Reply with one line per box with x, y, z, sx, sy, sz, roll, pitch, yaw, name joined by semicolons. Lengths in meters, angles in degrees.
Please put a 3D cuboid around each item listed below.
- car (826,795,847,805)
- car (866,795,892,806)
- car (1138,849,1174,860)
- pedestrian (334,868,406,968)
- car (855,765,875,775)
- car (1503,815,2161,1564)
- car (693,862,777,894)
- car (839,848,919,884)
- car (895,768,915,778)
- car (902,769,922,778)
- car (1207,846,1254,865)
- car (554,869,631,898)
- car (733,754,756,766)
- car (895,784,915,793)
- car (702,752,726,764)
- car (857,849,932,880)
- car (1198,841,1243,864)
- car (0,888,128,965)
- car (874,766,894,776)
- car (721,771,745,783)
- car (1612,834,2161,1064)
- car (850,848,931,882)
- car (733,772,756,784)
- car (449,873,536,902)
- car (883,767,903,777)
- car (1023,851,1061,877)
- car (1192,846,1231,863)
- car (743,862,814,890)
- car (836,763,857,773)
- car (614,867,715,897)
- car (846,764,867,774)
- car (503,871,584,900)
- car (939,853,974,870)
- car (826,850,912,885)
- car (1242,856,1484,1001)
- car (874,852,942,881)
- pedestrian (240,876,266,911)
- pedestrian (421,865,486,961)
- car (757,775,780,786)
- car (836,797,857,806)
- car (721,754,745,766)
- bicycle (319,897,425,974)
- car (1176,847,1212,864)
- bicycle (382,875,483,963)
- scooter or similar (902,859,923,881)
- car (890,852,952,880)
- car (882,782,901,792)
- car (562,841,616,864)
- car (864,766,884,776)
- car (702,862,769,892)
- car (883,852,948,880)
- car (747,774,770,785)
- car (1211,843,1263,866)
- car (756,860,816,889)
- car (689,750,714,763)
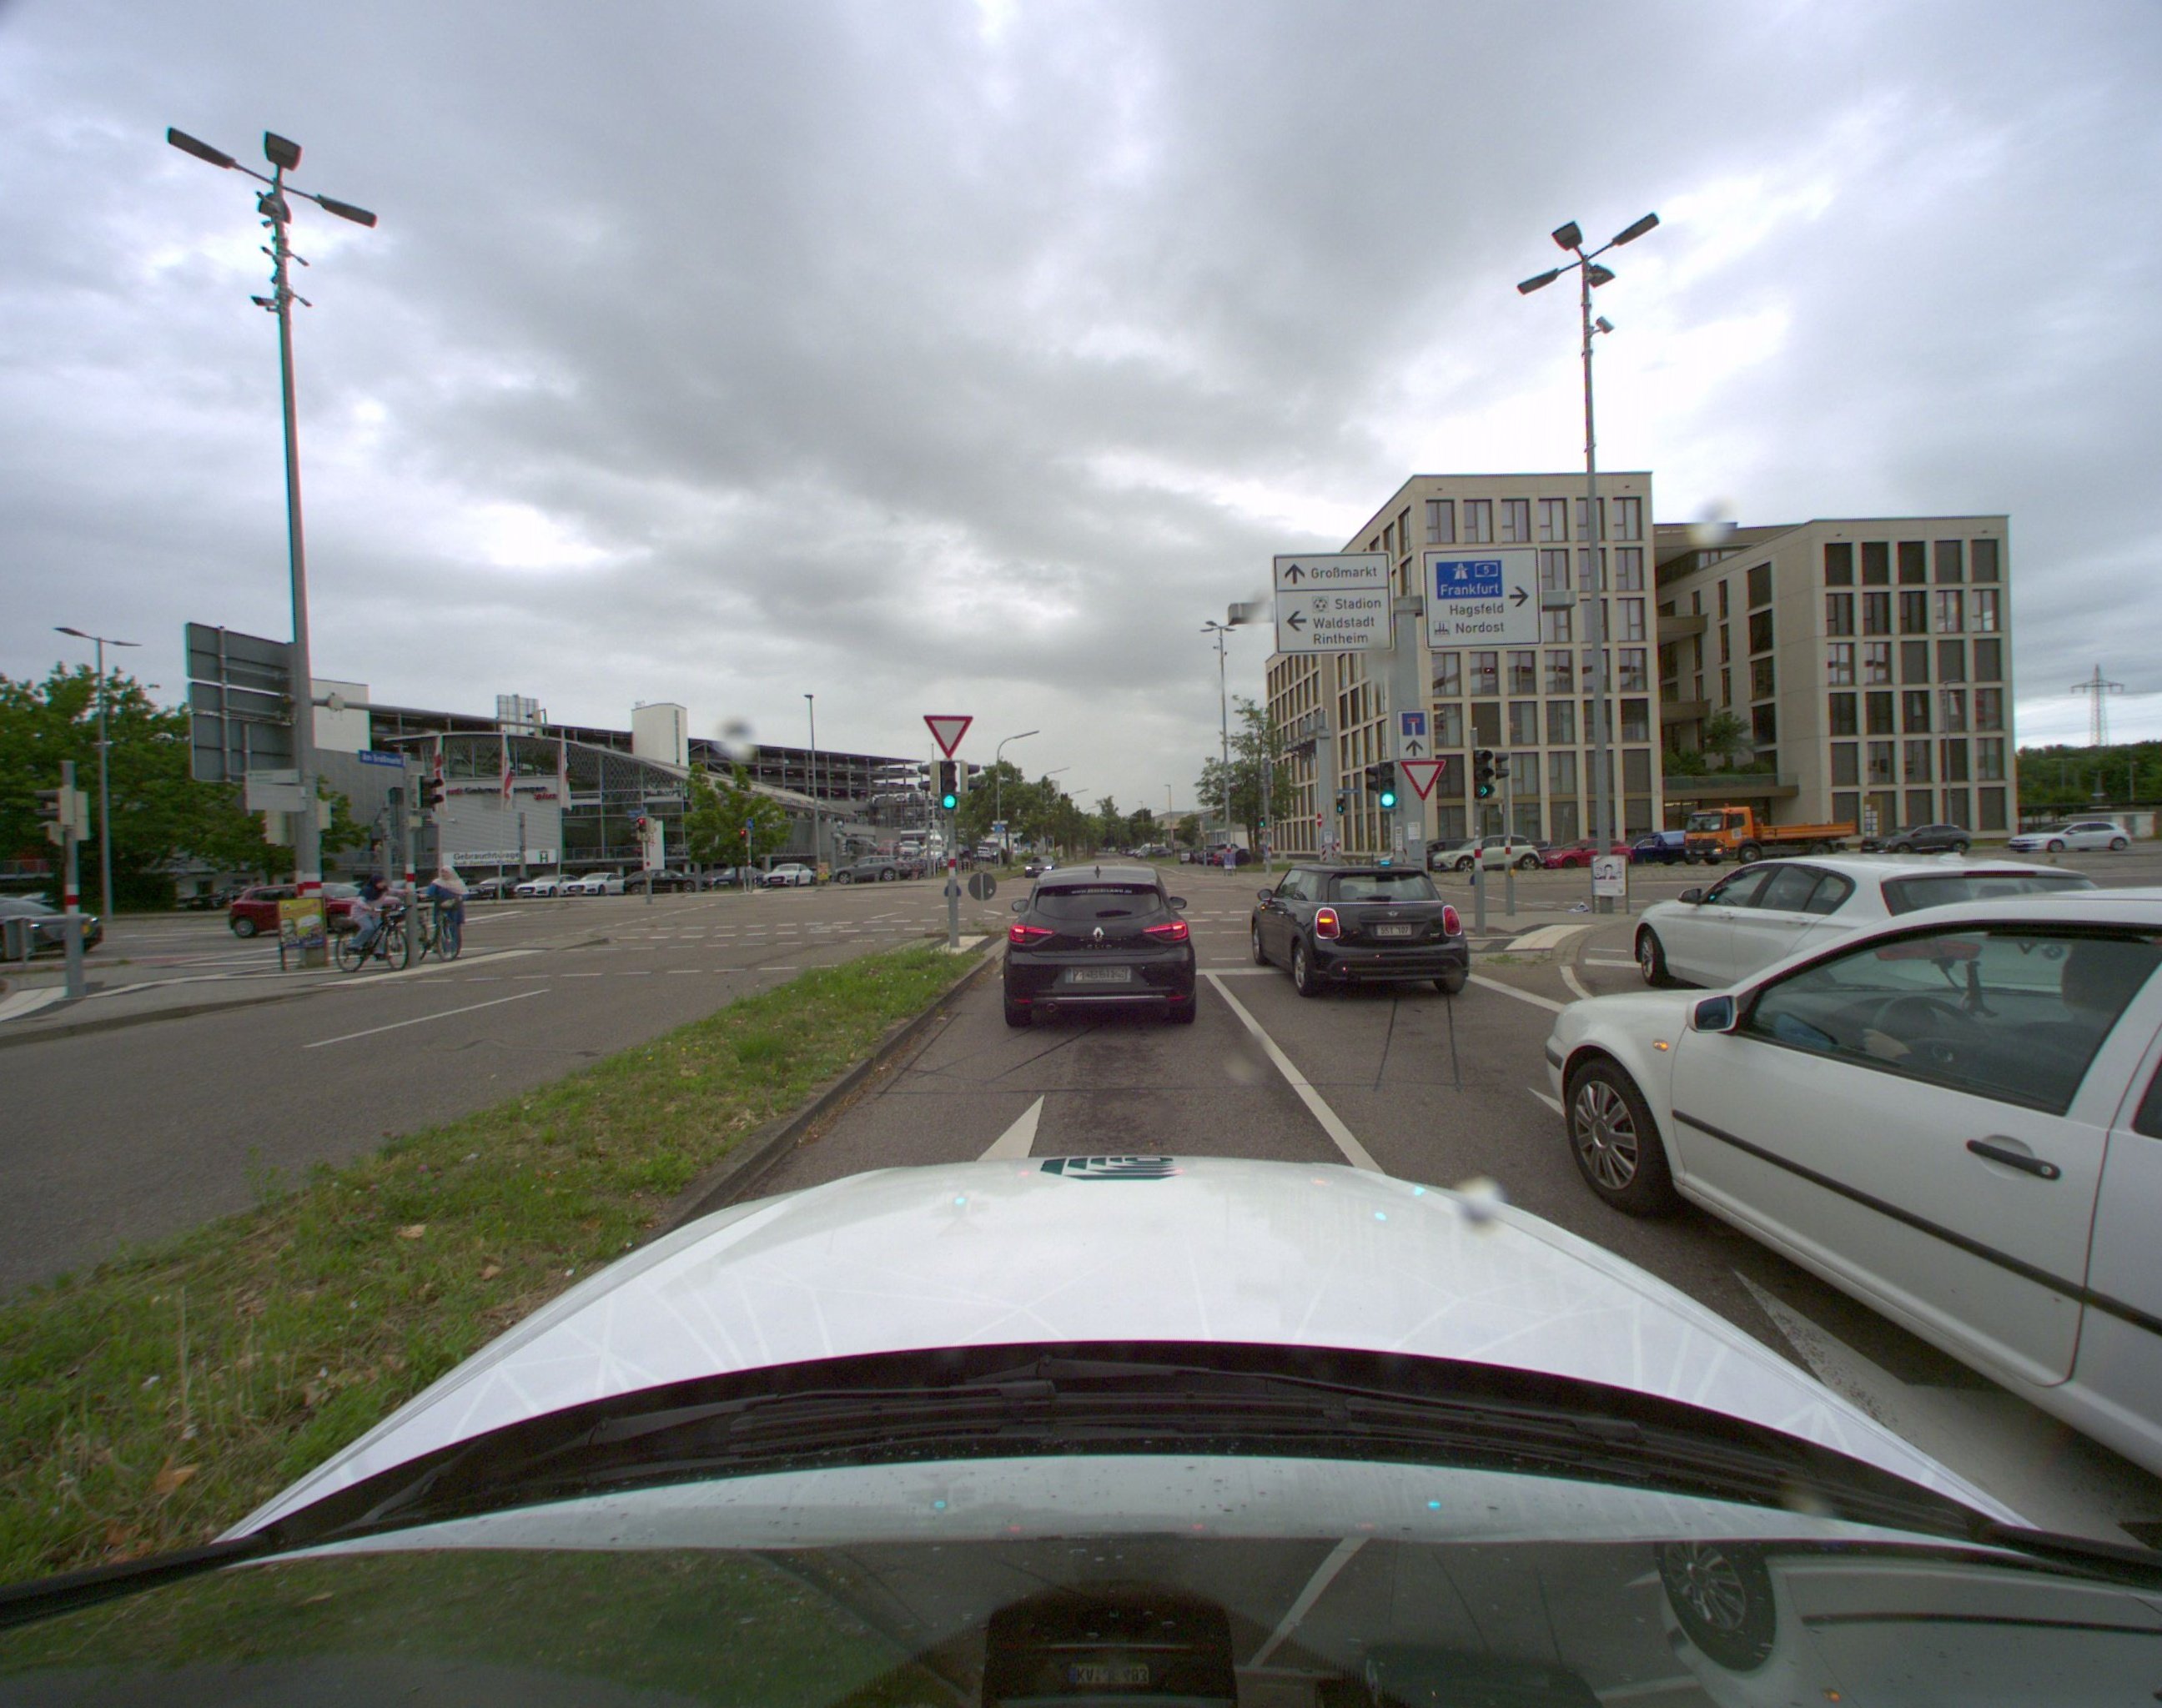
-49.363;-10.873;164.604;3.948;1.667;2.013;-1;0;33;car
-43.650;-11.542;176.154;5.263;1.945;2.225;-1;0;30;car
11.321;0.090;123.271;5.158;1.720;2.143;0;-1;-1;car
-11.413;1.018;13.076;0.642;1.549;0.657;-3;-3;24;pedestrian
-45.464;-17.654;171.559;3.948;1.667;2.013;-1;0;33;car
3.061;0.663;2.234;1.826;1.478;4.006;0;-1;2;car
-23.759;1.631;56.030;4.788;1.939;1.999;-2;0;-1;car
-13.312;0.779;53.852;4.690;2.013;1.998;-4;-1;-3;car
-39.139;-17.993;181.115;3.948;1.667;2.013;-1;0;33;car
-37.962;-18.027;183.032;3.948;1.667;2.013;-1;0;33;car
13.016;0.121;70.720;4.157;1.551;1.865;-1;-1;-43;car
-27.523;1.674;46.010;1.841;1.486;4.196;-2;-3;-1;car
-60.935;-17.007;147.349;3.948;1.667;2.013;-1;0;33;car
-39.057;-14.511;180.903;3.948;1.667;2.013;-1;0;33;car
-64.360;-16.824;142.770;3.948;1.667;2.013;-1;0;33;car
-13.568;0.777;59.499;4.938;1.876;2.050;-4;-1;-5;car
12.698;-0.124;73.934;1.975;1.965;4.271;-3;-1;43;car
-27.356;1.853;20.405;4.311;1.636;1.884;-3;3;-4;car
-42.596;-17.869;175.732;3.948;1.667;2.013;-1;0;33;car
-62.013;-13.701;145.072;3.948;1.667;2.013;-1;0;33;car
6.567;0.612;7.183;1.816;1.410;4.212;-1;-1;13;car
-13.234;0.754;56.860;5.011;2.013;2.264;-4;-1;-3;car
-60.798;-13.686;147.077;3.948;1.667;2.013;-1;0;33;car
-32.832;1.894;45.586;1.860;1.486;4.229;-2;-3;-1;car
-41.118;-17.850;177.806;3.948;1.667;2.013;-1;0;33;car
-2.514;0.642;53.320;1.970;1.551;4.617;-2;0;3;car
12.425;0.082;77.344;1.676;1.511;3.840;-3;-1;45;car
-23.805;1.711;64.210;4.788;1.939;1.999;-2;0;-1;car
-48.053;-17.569;166.747;3.948;1.667;2.013;-1;0;33;car
-23.726;1.589;46.551;4.726;1.486;1.891;-2;-3;-2;car
-46.606;-17.635;169.015;3.948;1.667;2.013;-1;0;33;car
-30.085;1.785;45.727;1.865;1.486;4.041;-2;-3;-1;car
-15.163;0.912;99.303;3.975;2.014;1.999;0;-1;-1;car
-13.292;0.826;51.280;4.761;1.862;1.998;-4;-1;-3;car
3.132;0.762;9.843;1.779;1.416;3.645;0;-1;2;car
-13.702;0.993;64.813;4.882;2.013;1.998;-4;-1;-3;car
-45.342;2.151;44.619;0.715;1.871;0.672;-2;-2;-3;pedestrian
-11.156;1.048;14.479;0.683;1.626;0.645;-5;-1;35;pedestrian
-58.034;-13.662;151.155;3.948;1.667;2.013;-1;0;33;car
-48.157;-10.778;167.008;3.948;1.667;2.013;-1;0;33;car
-62.062;-16.811;145.193;3.948;1.667;2.013;-1;0;33;car
-11.361;1.305;13.037;1.923;1.166;0.511;-3;-3;24;bicycle
11.598;0.178;83.680;3.451;1.732;1.745;0;-1;-40;car
-11.247;1.144;14.116;1.909;1.396;0.601;-5;0;29;bicycle
-10.003;0.939;48.298;0.553;1.218;1.567;1;1;16;scooter or similar
-13.796;1.038;70.364;4.882;2.013;1.998;-4;-1;-3;car
-41.332;-14.578;177.606;3.948;1.667;2.013;-1;0;33;car
-37.713;-0.071;62.551;1.815;1.662;3.995;0;-1;-3;car
-44.202;-17.722;173.563;3.948;1.667;2.013;-1;0;33;car
-19.678;1.366;46.643;2.059;1.486;4.511;-3;-3;-3;car
-13.604;0.993;67.322;4.882;2.013;1.998;-4;-1;-3;car
-59.123;-13.673;149.191;3.948;1.667;2.013;-1;0;33;car
12.702;0.061;66.338;4.153;1.768;1.867;-1;-1;-38;car
-16.875;1.172;46.766;1.863;1.486;4.227;-3;-2;-1;car
-65.560;-16.842;140.622;3.948;1.667;2.013;-1;0;33;car
